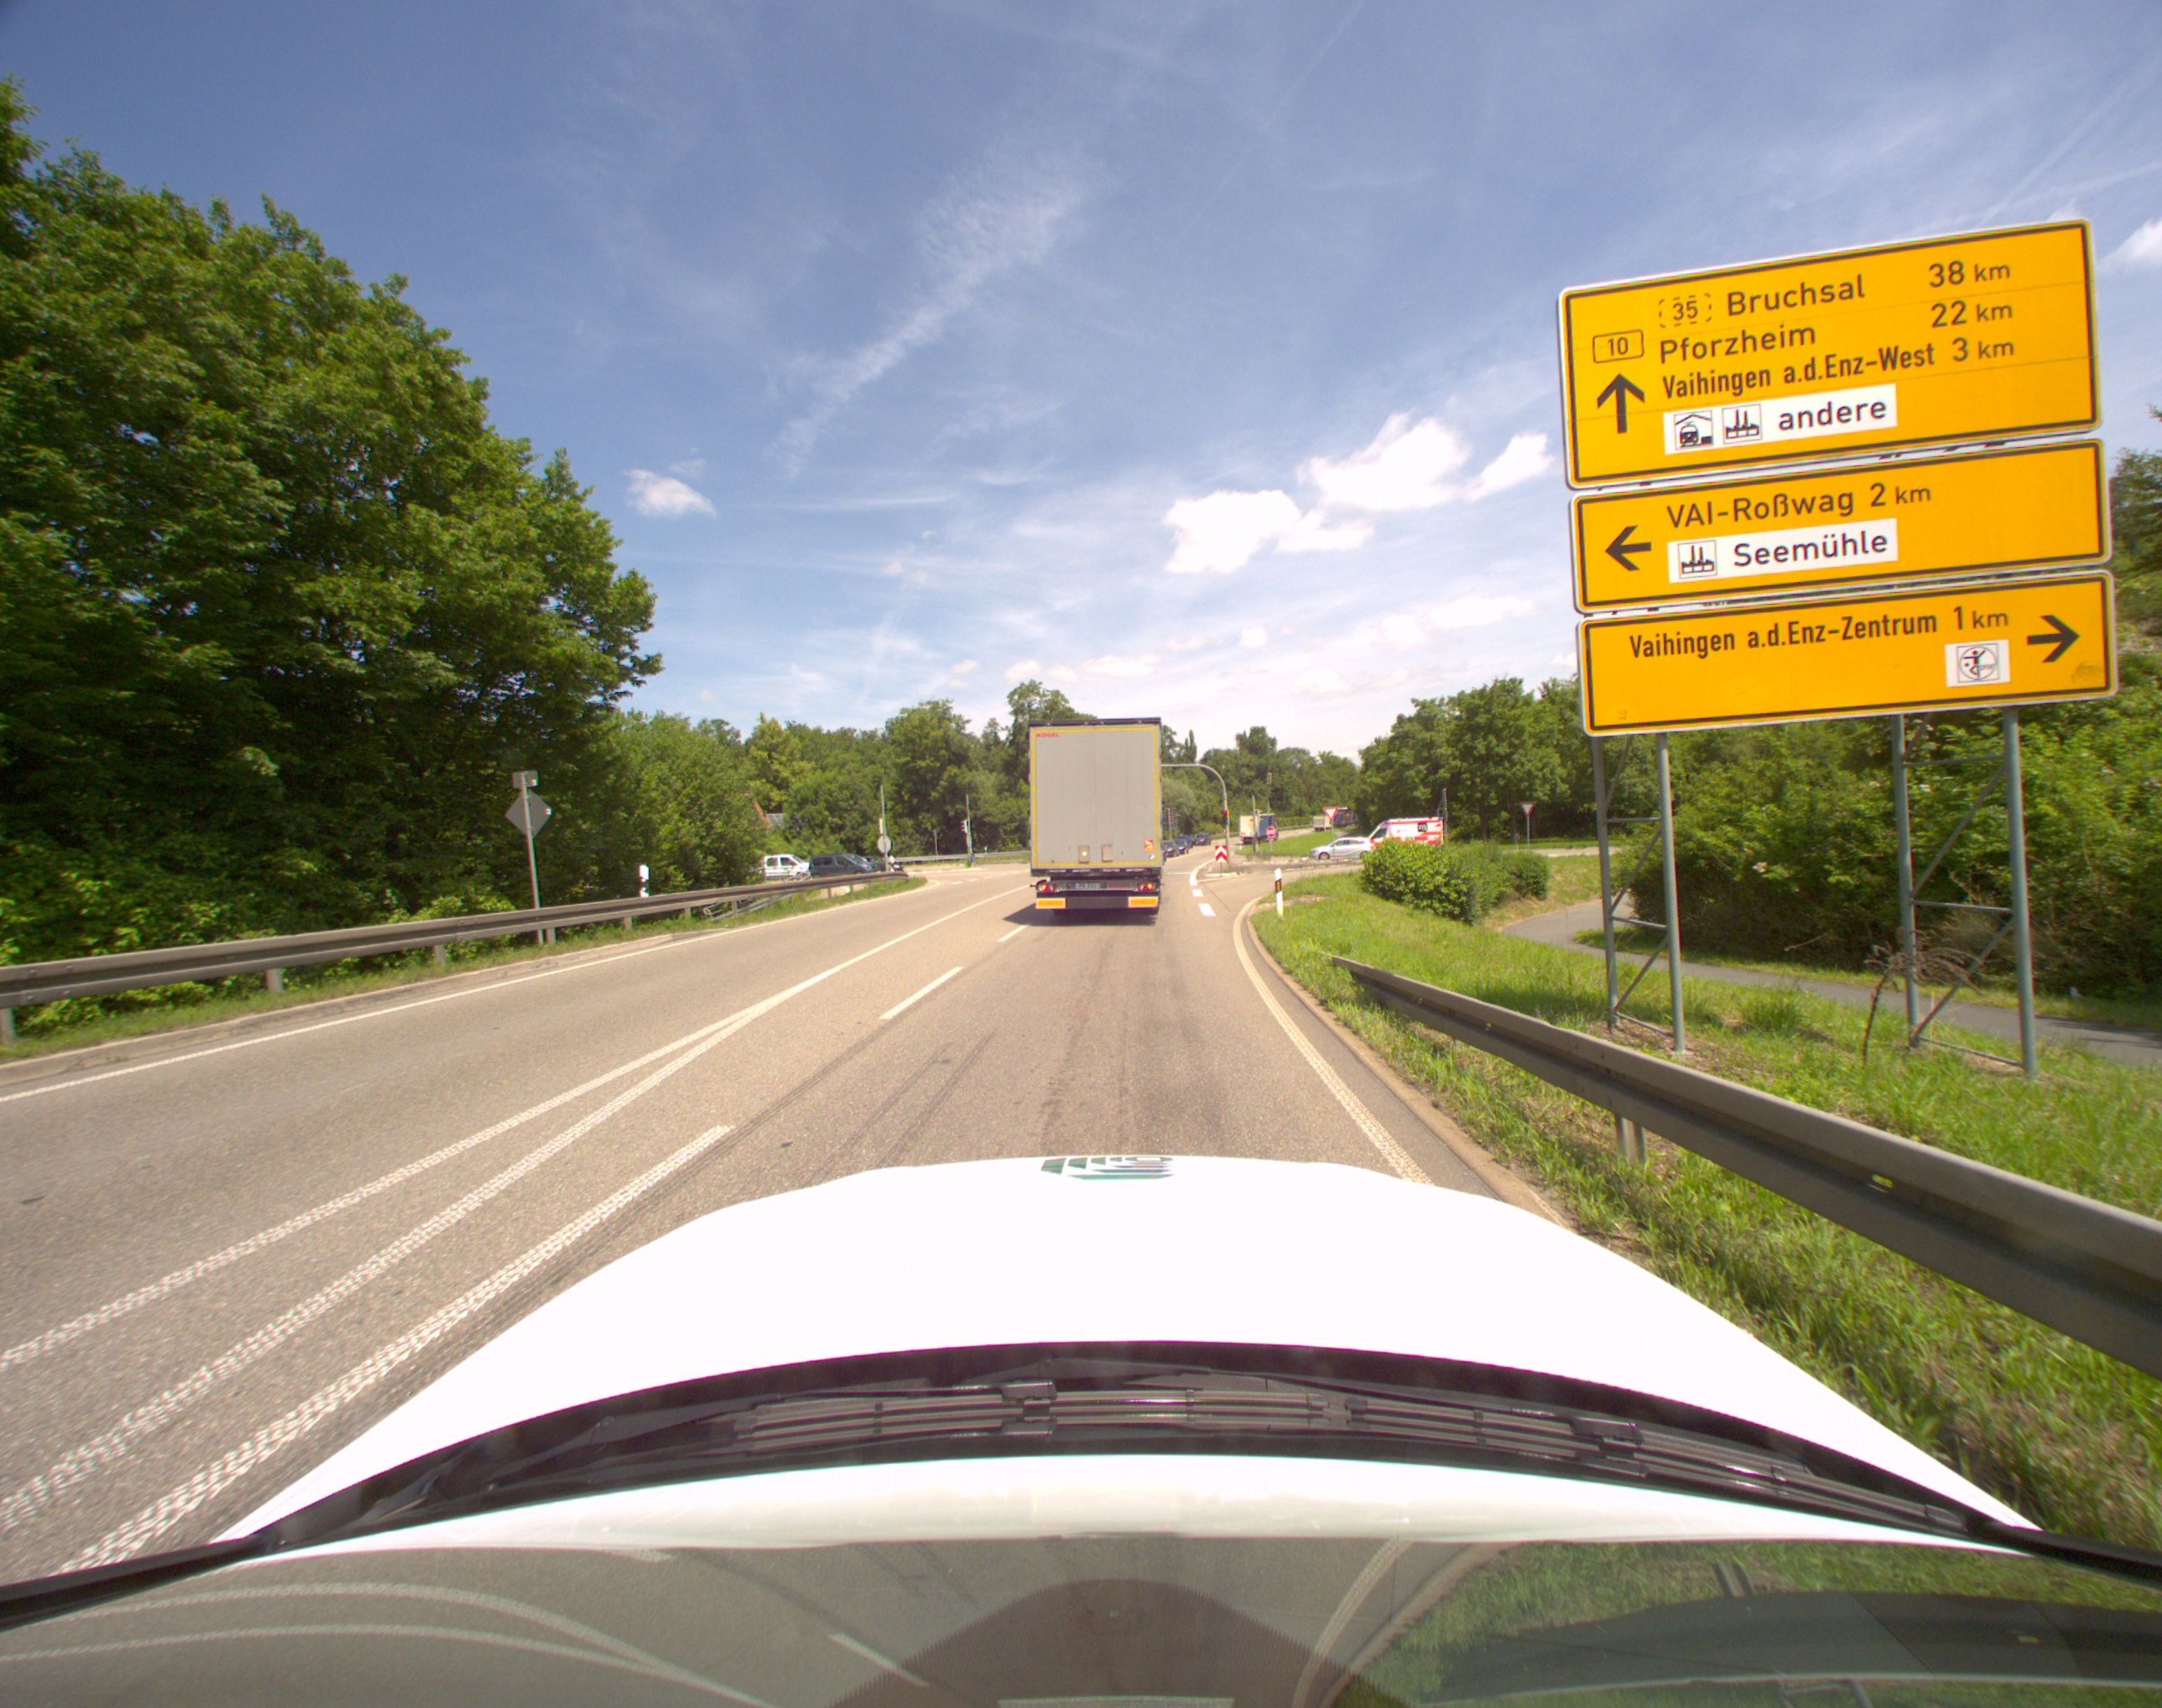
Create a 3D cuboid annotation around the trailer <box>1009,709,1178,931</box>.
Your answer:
[{"bbox_3d":[0.763,-0.758,21.417,3.037,4.033,12.577,-1,1,5],"label":"trailer"}]

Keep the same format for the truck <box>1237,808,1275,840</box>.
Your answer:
[{"bbox_3d":[24.077,-4.131,111.555,3.152,4.028,11.808,-1,2,21],"label":"truck"}]

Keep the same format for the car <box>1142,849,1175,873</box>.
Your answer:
[{"bbox_3d":[6.133,0.577,64.149,1.980,1.785,4.958,-1,-1,12],"label":"car"}]

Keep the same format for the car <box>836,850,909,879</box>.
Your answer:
[{"bbox_3d":[-13.801,0.689,54.054,4.203,1.770,2.008,-2,0,14],"label":"car"}]

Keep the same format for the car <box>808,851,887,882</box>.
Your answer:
[{"bbox_3d":[-14.299,0.782,49.942,4.203,1.770,2.008,-2,0,14],"label":"car"}]

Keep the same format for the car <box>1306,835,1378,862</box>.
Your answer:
[{"bbox_3d":[17.733,-0.366,55.445,4.401,1.718,2.005,-1,-1,9],"label":"car"}]

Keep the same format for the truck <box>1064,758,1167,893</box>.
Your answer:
[{"bbox_3d":[1.333,-0.927,28.036,3.024,4.033,6.639,-1,1,5],"label":"truck"}]

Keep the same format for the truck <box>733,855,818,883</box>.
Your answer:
[{"bbox_3d":[-20.011,0.973,53.561,4.873,1.791,2.038,0,-1,-8],"label":"truck"}]

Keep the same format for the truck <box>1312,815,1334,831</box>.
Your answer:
[{"bbox_3d":[46.714,-5.937,157.346,2.829,2.948,7.147,-1,1,26],"label":"truck"}]

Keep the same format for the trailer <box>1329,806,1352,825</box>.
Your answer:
[{"bbox_3d":[54.823,-7.981,171.652,3.221,3.685,9.306,-1,1,26],"label":"trailer"}]

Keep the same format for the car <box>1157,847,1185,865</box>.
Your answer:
[{"bbox_3d":[8.012,0.235,72.144,1.980,1.491,4.271,-1,-1,12],"label":"car"}]

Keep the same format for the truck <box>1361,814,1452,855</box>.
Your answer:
[{"bbox_3d":[23.512,-1.324,58.785,5.957,2.728,2.516,-1,-2,24],"label":"truck"}]
